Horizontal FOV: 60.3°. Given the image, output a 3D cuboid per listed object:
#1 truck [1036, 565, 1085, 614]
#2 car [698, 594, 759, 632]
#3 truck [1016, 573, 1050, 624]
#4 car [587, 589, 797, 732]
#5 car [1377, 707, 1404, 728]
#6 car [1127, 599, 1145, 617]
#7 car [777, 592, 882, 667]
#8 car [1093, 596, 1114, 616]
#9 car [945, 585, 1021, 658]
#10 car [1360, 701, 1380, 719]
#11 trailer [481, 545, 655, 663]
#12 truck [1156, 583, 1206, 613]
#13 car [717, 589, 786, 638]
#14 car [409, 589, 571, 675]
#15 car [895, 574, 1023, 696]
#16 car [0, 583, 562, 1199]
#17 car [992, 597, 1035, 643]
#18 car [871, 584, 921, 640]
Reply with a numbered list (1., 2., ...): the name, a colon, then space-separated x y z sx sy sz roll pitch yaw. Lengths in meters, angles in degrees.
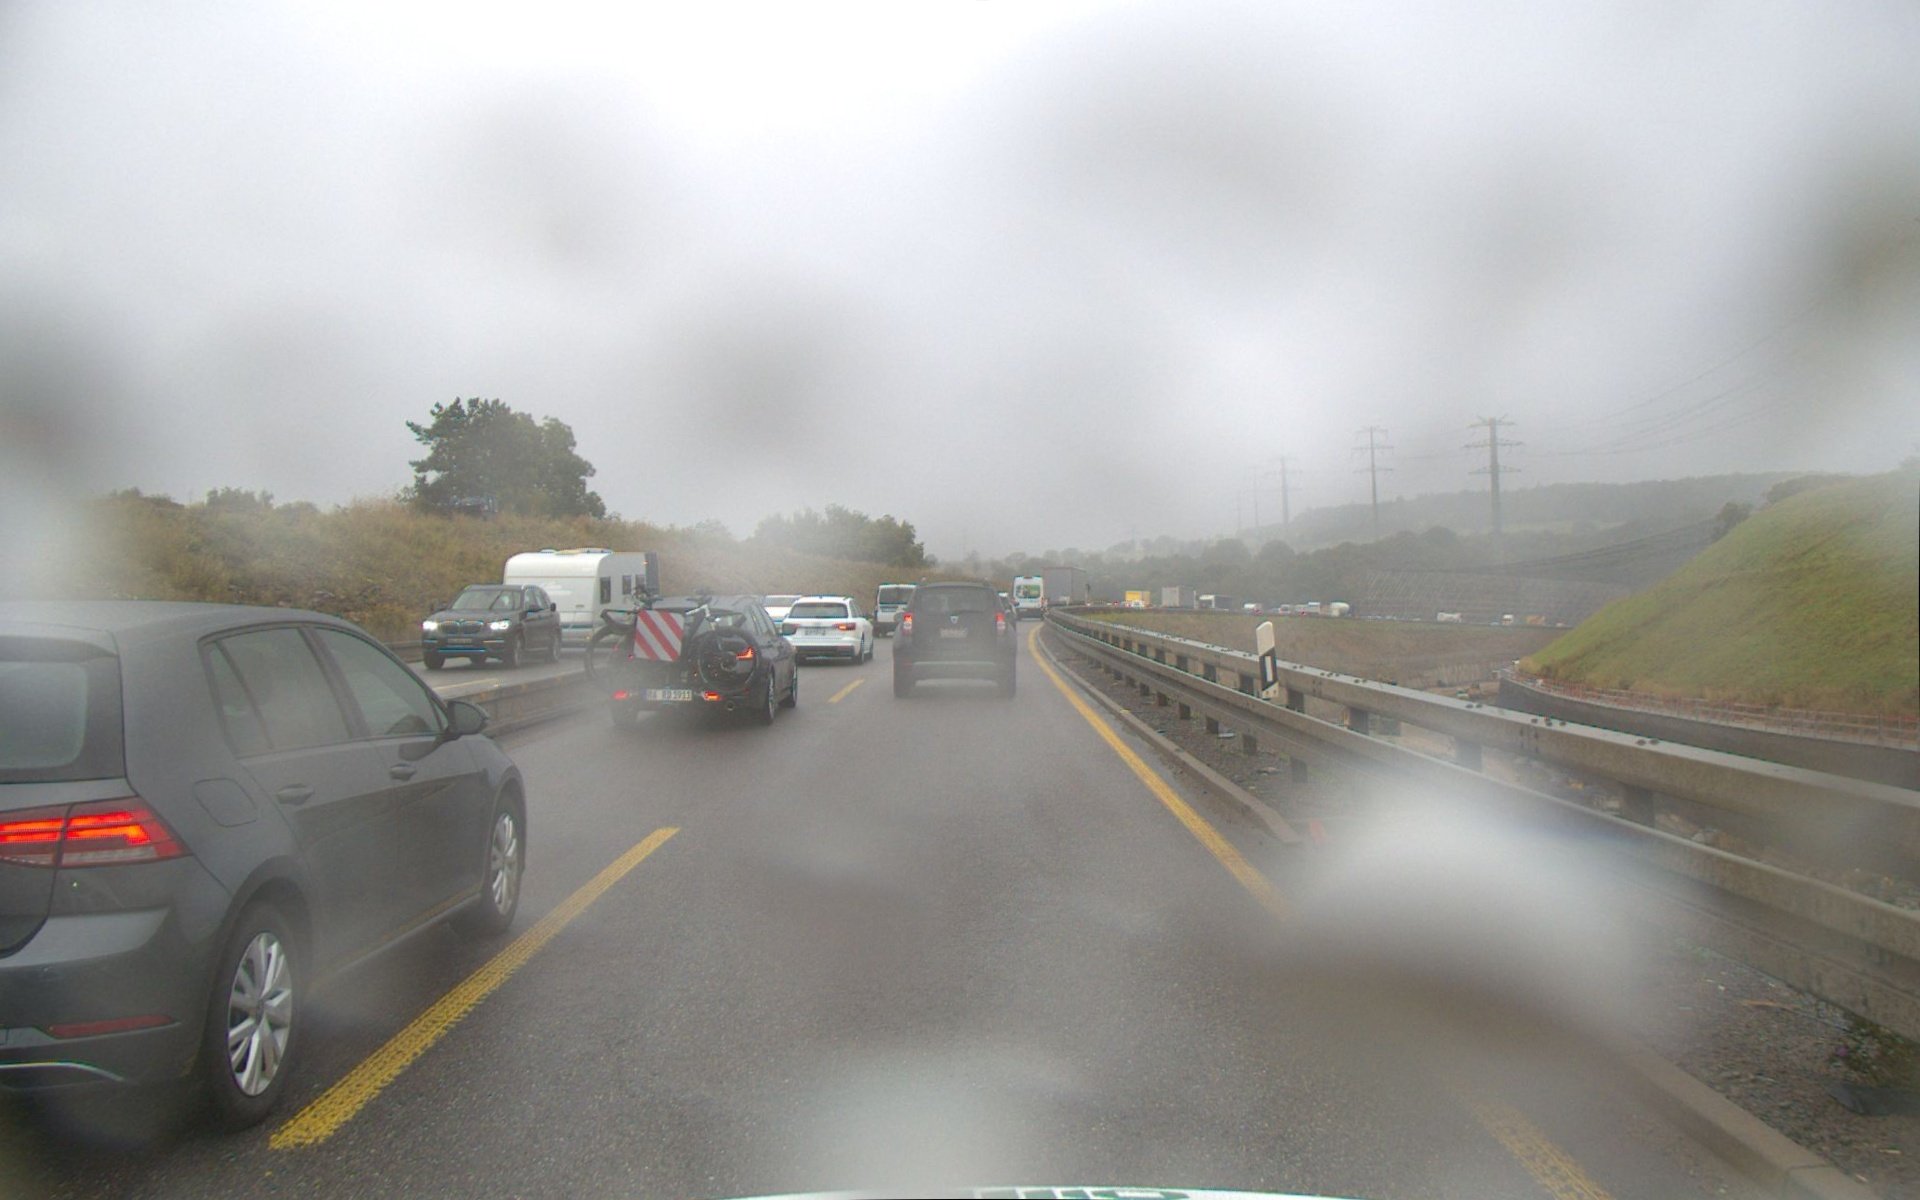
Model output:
1. truck: 8.293 -0.842 135.794 3.132 3.827 8.516 1 0 9
2. car: -9.288 0.502 66.640 1.732 1.469 4.672 0 0 1
3. truck: 4.764 -0.096 108.588 2.105 3.221 6.460 1 0 1
4. car: -3.016 0.645 19.350 1.791 1.502 3.776 0 0 1
5. car: 48.396 13.162 186.063 2.315 2.049 4.003 1 0 6
6. car: 19.824 0.864 186.036 1.737 1.949 4.003 1 0 10
7. car: -2.776 0.605 36.080 1.829 1.486 4.549 1 0 1
8. car: 14.314 0.554 165.117 1.737 1.949 4.003 1 0 10
9. car: 0.540 0.514 42.108 1.829 1.738 4.000 1 0 -1
10. car: 50.216 13.467 202.639 1.951 1.847 4.003 0 0 9
11. trailer: -9.433 0.069 40.589 2.458 2.609 7.163 1 0 0
12. truck: 32.163 -0.265 239.989 4.618 4.222 15.690 1 0 17
13. car: -7.204 0.432 57.459 1.839 1.526 4.335 1 1 0
14. car: -9.660 0.602 34.442 1.953 1.614 5.118 1 0 -1
15. car: 0.020 0.488 24.593 1.767 1.675 3.776 0 0 1
16. car: -2.646 0.757 5.669 1.581 1.532 4.367 -2 0 -2
17. car: 2.014 0.732 62.736 1.499 1.669 4.013 1 0 0
18. car: -2.271 0.420 59.332 1.626 1.913 4.019 1 0 -1
